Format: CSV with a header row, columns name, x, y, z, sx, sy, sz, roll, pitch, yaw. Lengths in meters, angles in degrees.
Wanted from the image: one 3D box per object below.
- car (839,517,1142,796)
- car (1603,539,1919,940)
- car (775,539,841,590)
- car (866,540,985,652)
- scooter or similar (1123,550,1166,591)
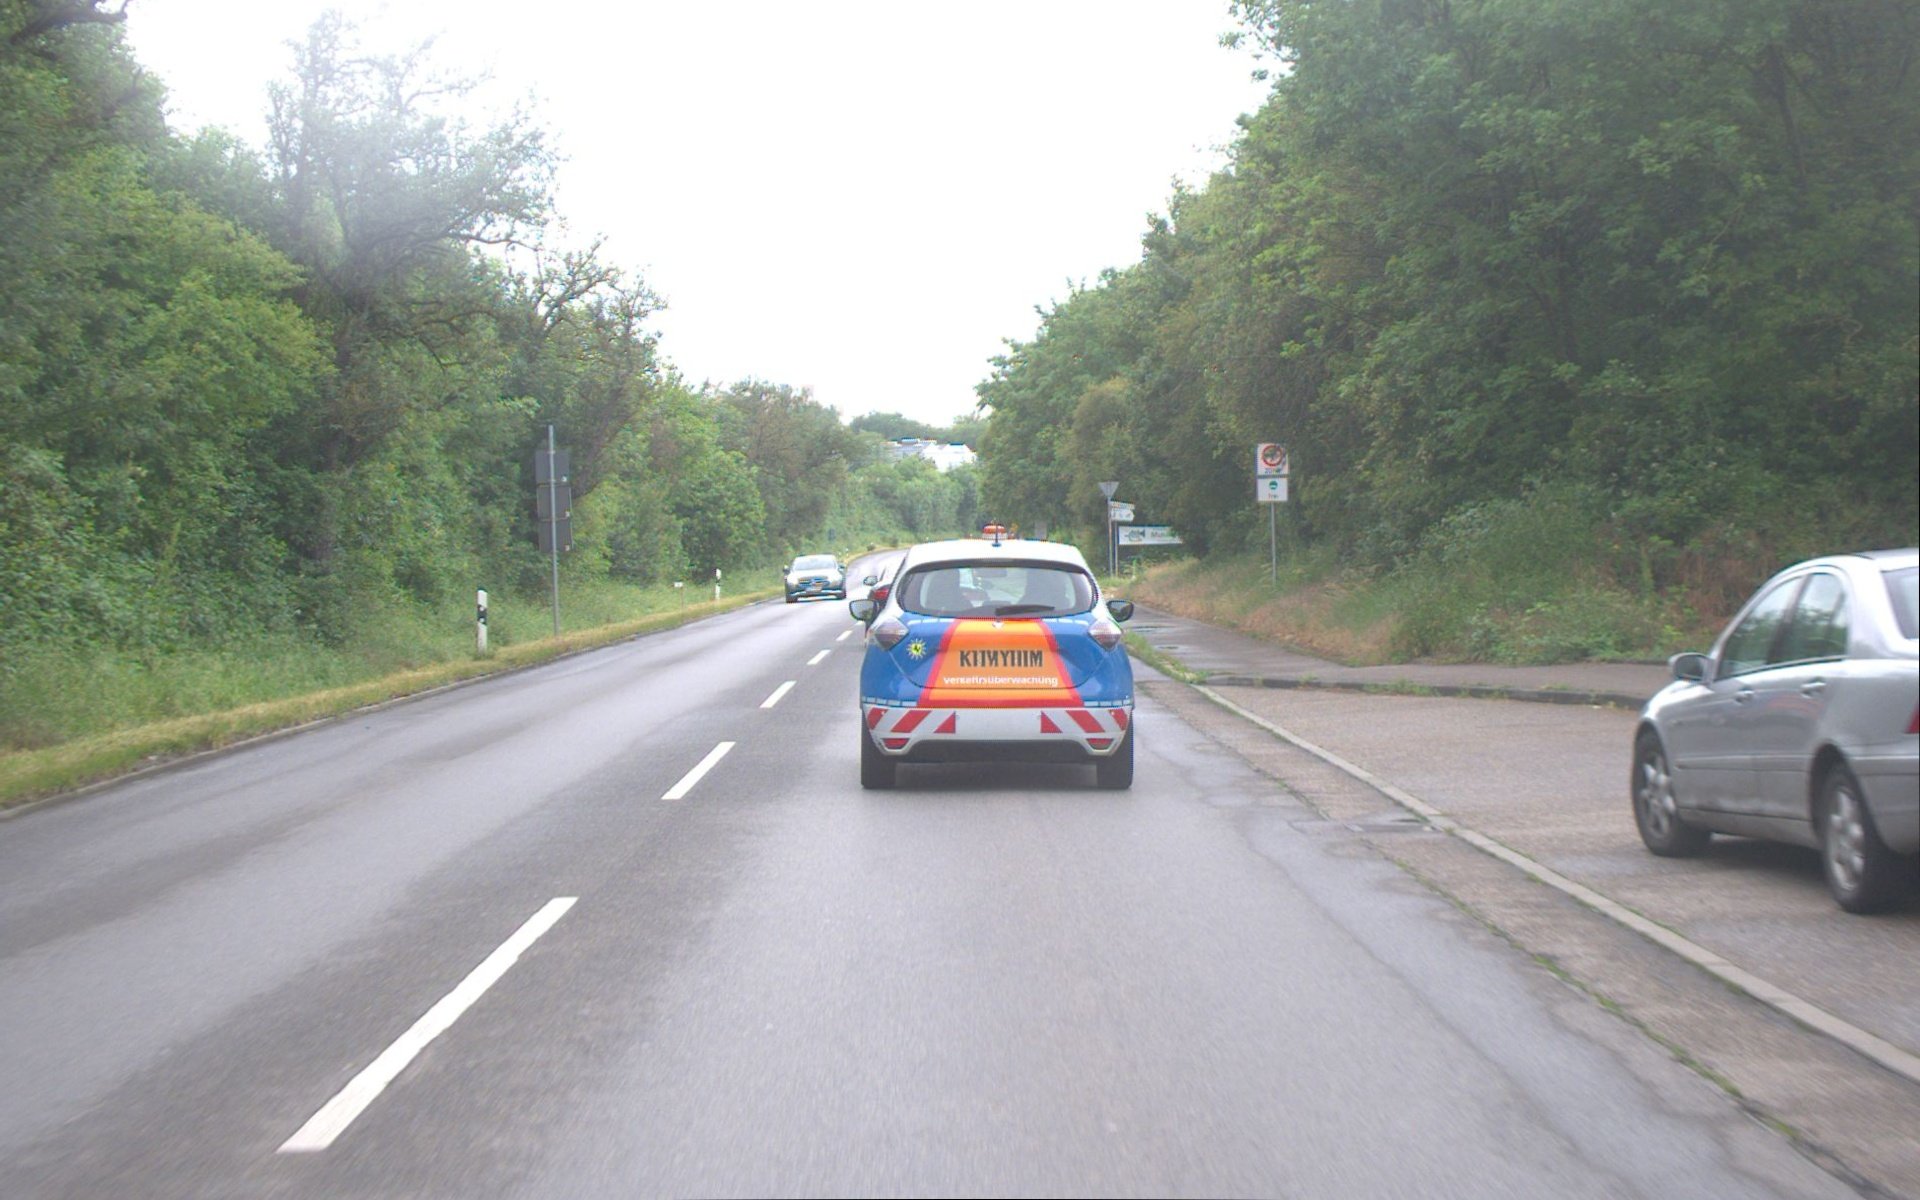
name,x,y,z,sx,sy,sz,roll,pitch,yaw
car,0.165,0.318,22.652,1.806,1.662,3.856,1,1,-1
car,4.231,0.478,14.807,1.744,1.463,4.221,-3,1,-5
car,-4.885,-1.160,111.069,1.871,1.484,4.574,-4,1,0
car,-0.490,-0.075,51.286,1.694,1.590,3.856,1,1,0
scooter or similar,5.602,-0.891,104.287,1.326,1.202,0.373,-1,1,41
